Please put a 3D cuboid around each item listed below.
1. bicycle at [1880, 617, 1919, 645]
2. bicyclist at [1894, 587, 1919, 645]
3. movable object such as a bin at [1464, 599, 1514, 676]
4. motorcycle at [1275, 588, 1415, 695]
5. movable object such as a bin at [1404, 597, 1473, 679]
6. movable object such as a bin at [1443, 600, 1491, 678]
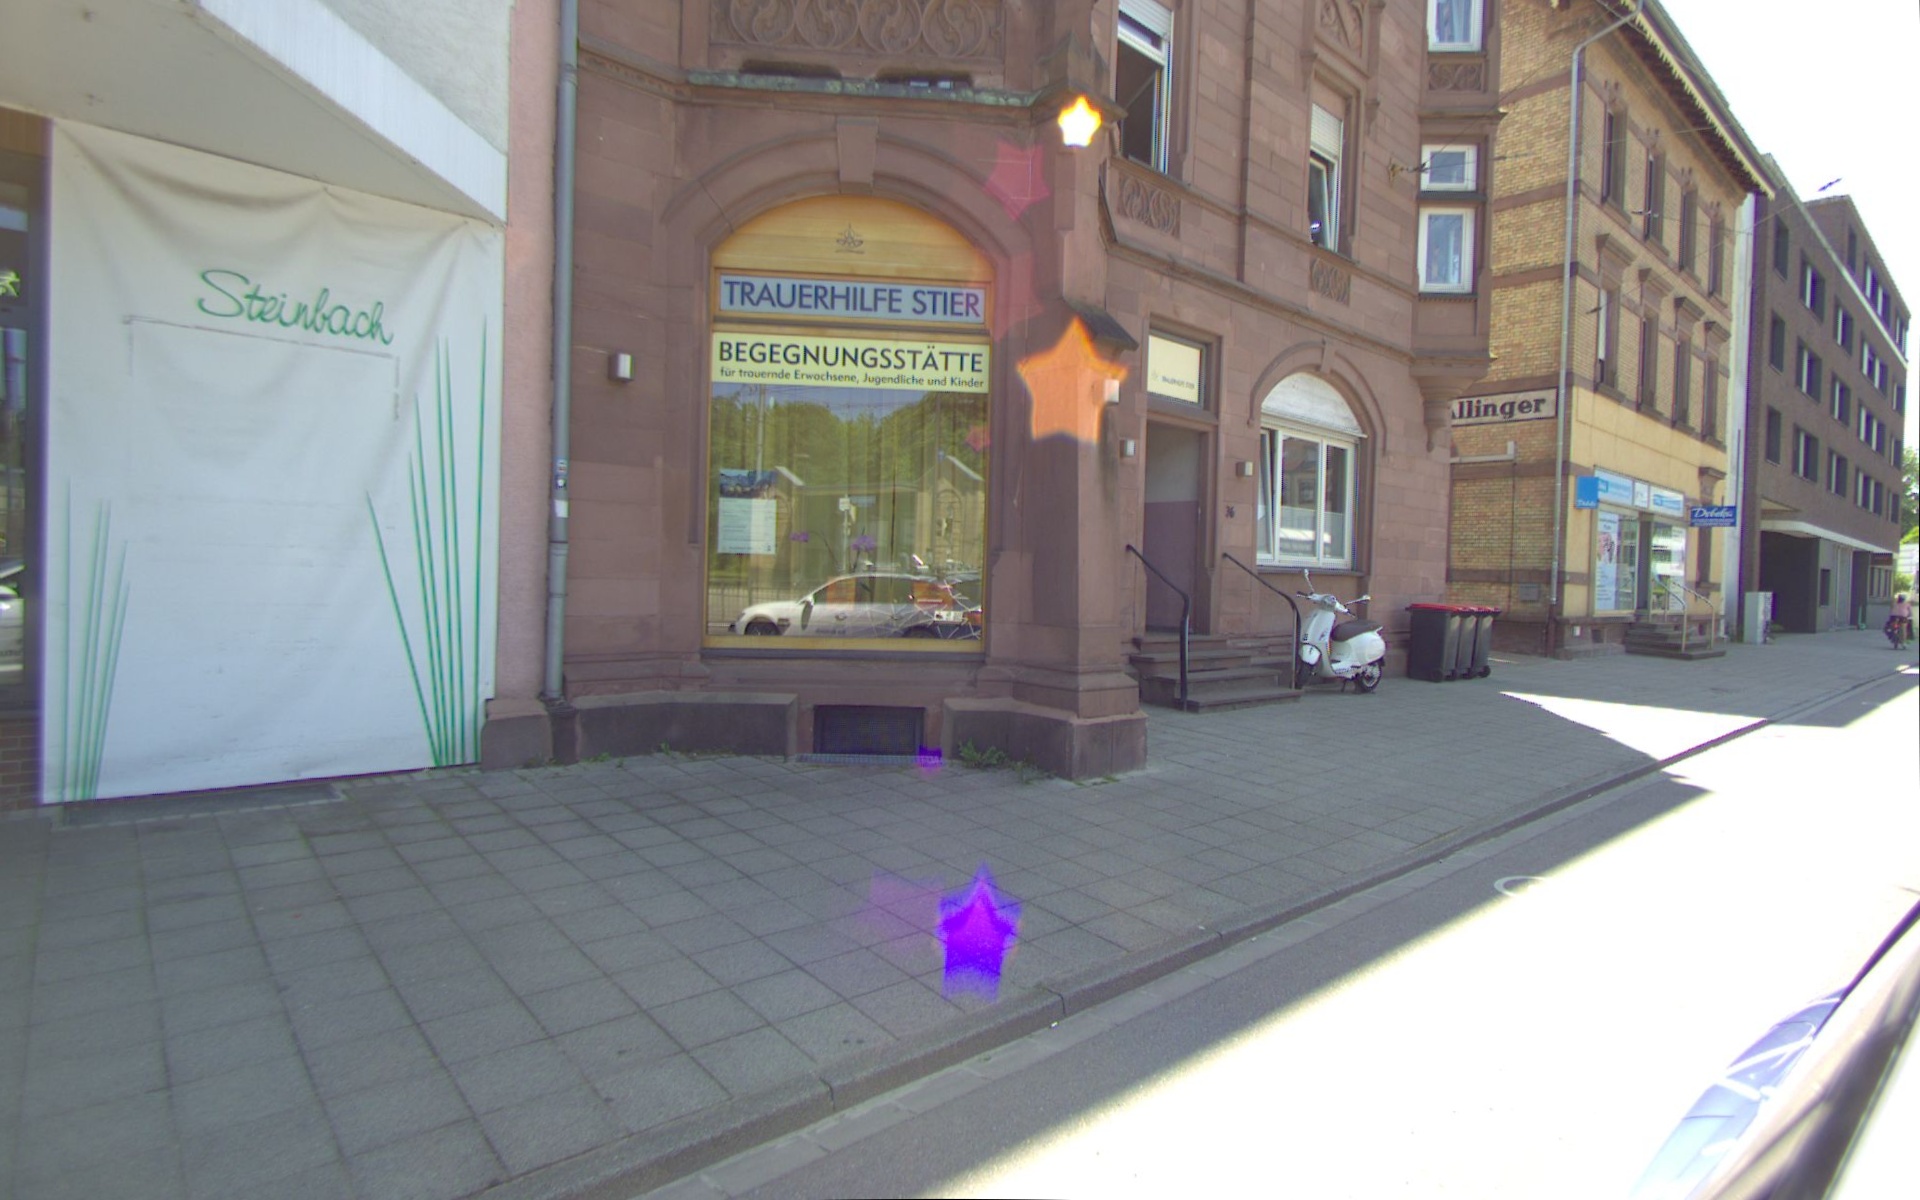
[{"bbox_3d":[29.242,0.950,31.100,1.868,0.807,0.692,1,1,-23],"label":"bicycle"},{"bbox_3d":[29.467,0.483,31.185,0.909,1.744,0.673,1,1,-24],"label":"bicyclist"},{"bbox_3d":[7.696,0.536,14.726,0.646,1.061,0.376,0,4,-42],"label":"movable object such as a bin"},{"bbox_3d":[4.520,0.457,11.838,1.843,1.163,0.529,1,1,-33],"label":"motorcycle"},{"bbox_3d":[6.656,0.519,14.080,0.549,1.061,0.649,0,4,-42],"label":"movable object such as a bin"},{"bbox_3d":[7.186,0.545,14.340,0.549,1.061,0.376,0,4,-42],"label":"movable object such as a bin"}]
